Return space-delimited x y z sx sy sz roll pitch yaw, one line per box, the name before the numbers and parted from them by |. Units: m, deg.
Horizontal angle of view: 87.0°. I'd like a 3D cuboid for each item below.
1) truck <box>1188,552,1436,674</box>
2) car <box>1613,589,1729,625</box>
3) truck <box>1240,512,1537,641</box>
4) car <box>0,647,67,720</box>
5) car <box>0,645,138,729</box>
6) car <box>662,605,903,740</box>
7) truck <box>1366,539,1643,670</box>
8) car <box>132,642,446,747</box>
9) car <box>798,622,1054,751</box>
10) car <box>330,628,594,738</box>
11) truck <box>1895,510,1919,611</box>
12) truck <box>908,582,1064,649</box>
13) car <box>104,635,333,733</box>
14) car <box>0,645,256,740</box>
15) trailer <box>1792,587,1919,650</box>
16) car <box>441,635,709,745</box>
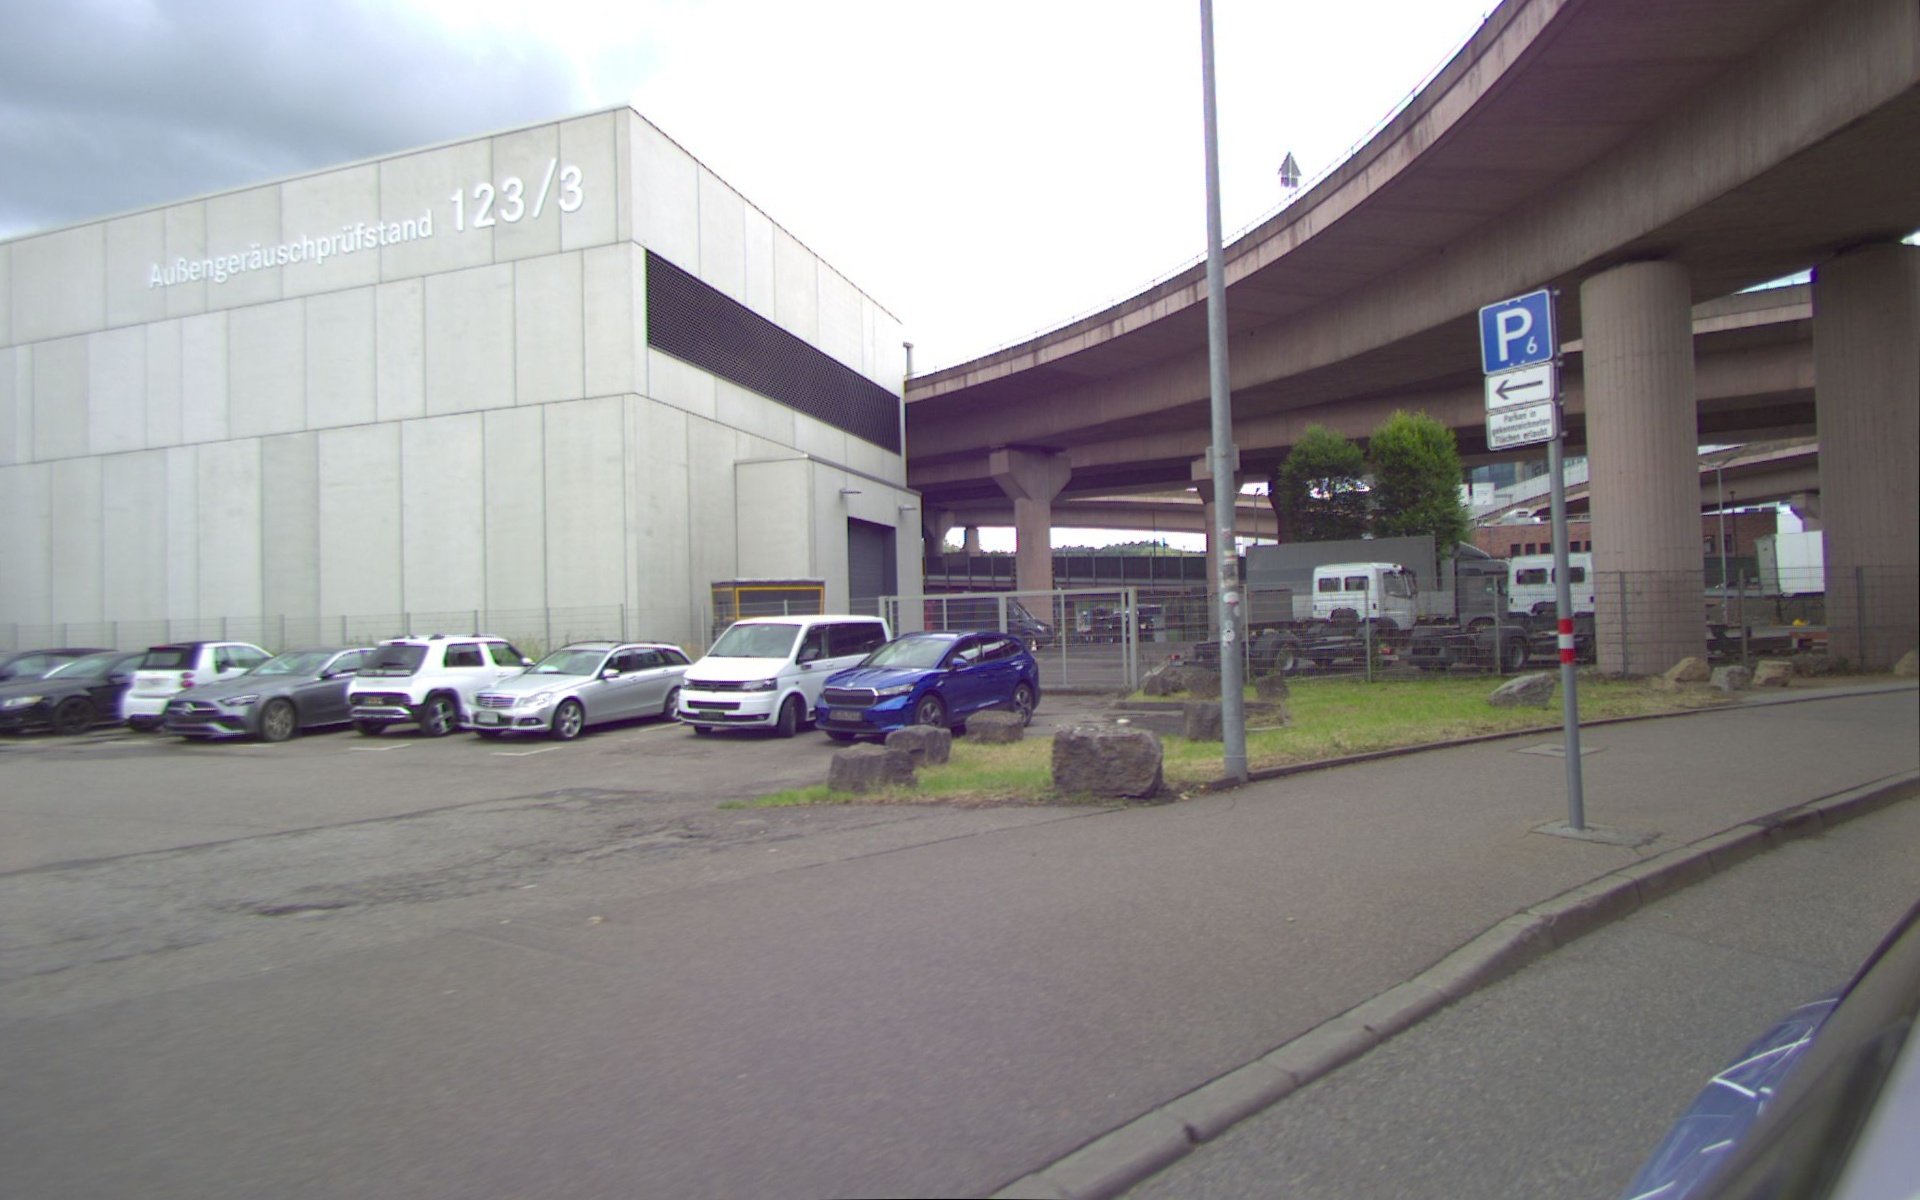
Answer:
truck | 9.221 0.294 26.467 5.992 2.923 2.462 -1 -1 -24
car | 37.083 0.416 52.873 4.844 1.728 2.067 -2 -2 37
truck | 16.083 -0.744 39.101 9.998 4.422 3.891 -1 -2 18
car | -20.976 1.763 20.379 1.748 1.475 4.345 -1 -1 12
car | -18.555 1.672 19.319 1.748 1.475 4.345 -1 -1 12
car | -2.846 1.103 17.426 1.873 1.982 4.643 -1 -1 23
truck | 13.153 0.076 24.269 7.091 2.779 2.426 -1 -1 -30
car | -11.140 1.485 17.219 1.752 1.401 4.335 -1 -1 18
car | -0.358 1.231 16.129 1.762 1.655 4.630 -2 -1 33
car | -8.567 1.344 17.894 1.751 1.608 4.338 -1 -1 16
truck | 38.365 -1.504 33.958 10.081 3.542 2.258 -2 0 19
truck | 1.268 0.793 48.500 6.844 2.970 3.029 -2 -2 21
car | -13.562 1.471 18.699 1.602 1.564 3.080 -1 -1 18
car | -15.957 1.634 19.036 1.752 1.401 4.335 -1 -1 18
trailer | 22.483 0.390 24.114 4.293 1.348 1.608 -2 0 -8
car | -6.317 1.405 17.228 1.753 1.475 4.525 -1 -1 20
